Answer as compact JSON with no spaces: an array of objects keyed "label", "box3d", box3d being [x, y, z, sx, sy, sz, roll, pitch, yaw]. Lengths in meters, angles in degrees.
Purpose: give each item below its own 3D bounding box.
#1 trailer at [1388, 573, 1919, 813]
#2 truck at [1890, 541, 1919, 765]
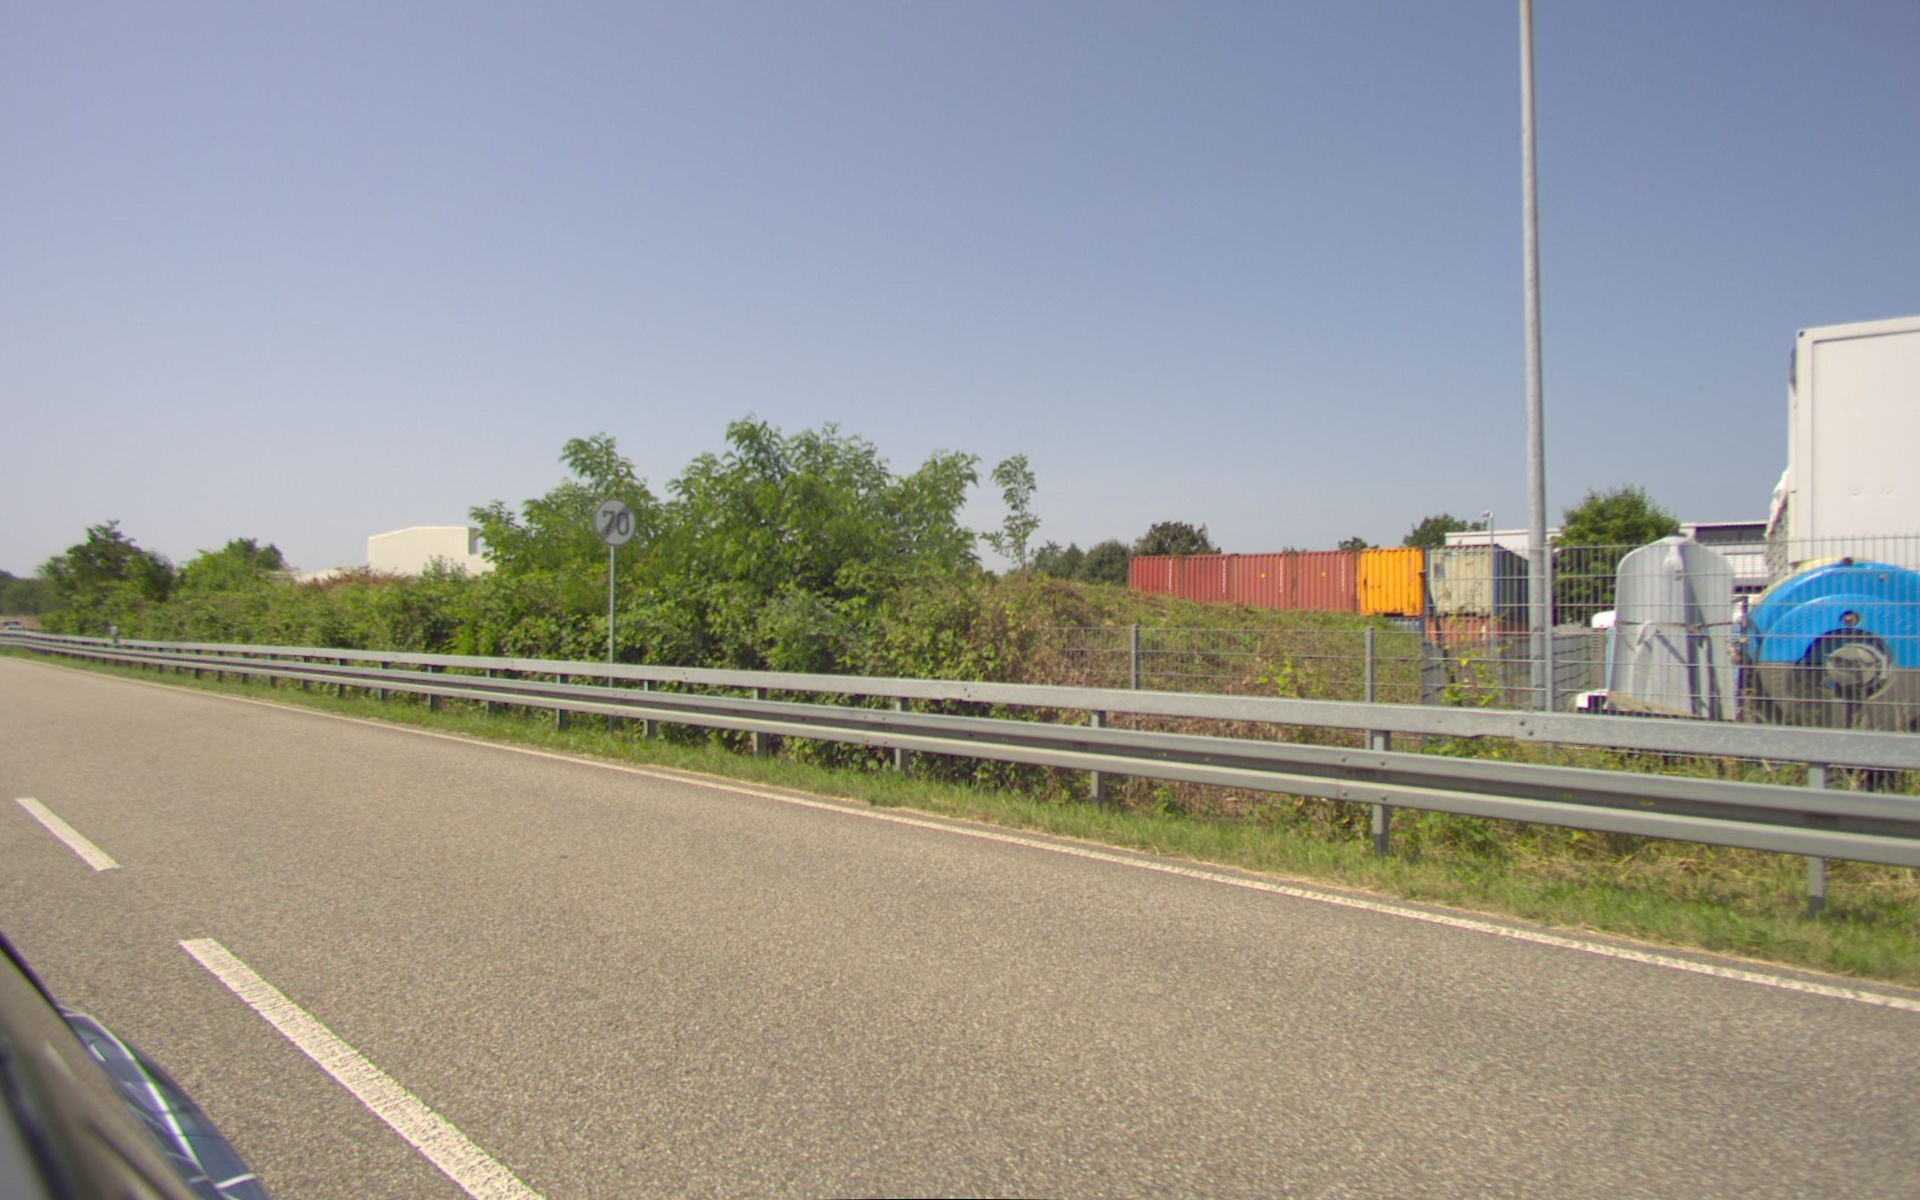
[{"label":"trailer","box3d":[8.127,0.793,9.865,6.961,2.019,2.182,-1,-1,37]},{"label":"truck","box3d":[10.438,0.452,8.199,3.992,2.019,2.182,-1,-1,36]}]
